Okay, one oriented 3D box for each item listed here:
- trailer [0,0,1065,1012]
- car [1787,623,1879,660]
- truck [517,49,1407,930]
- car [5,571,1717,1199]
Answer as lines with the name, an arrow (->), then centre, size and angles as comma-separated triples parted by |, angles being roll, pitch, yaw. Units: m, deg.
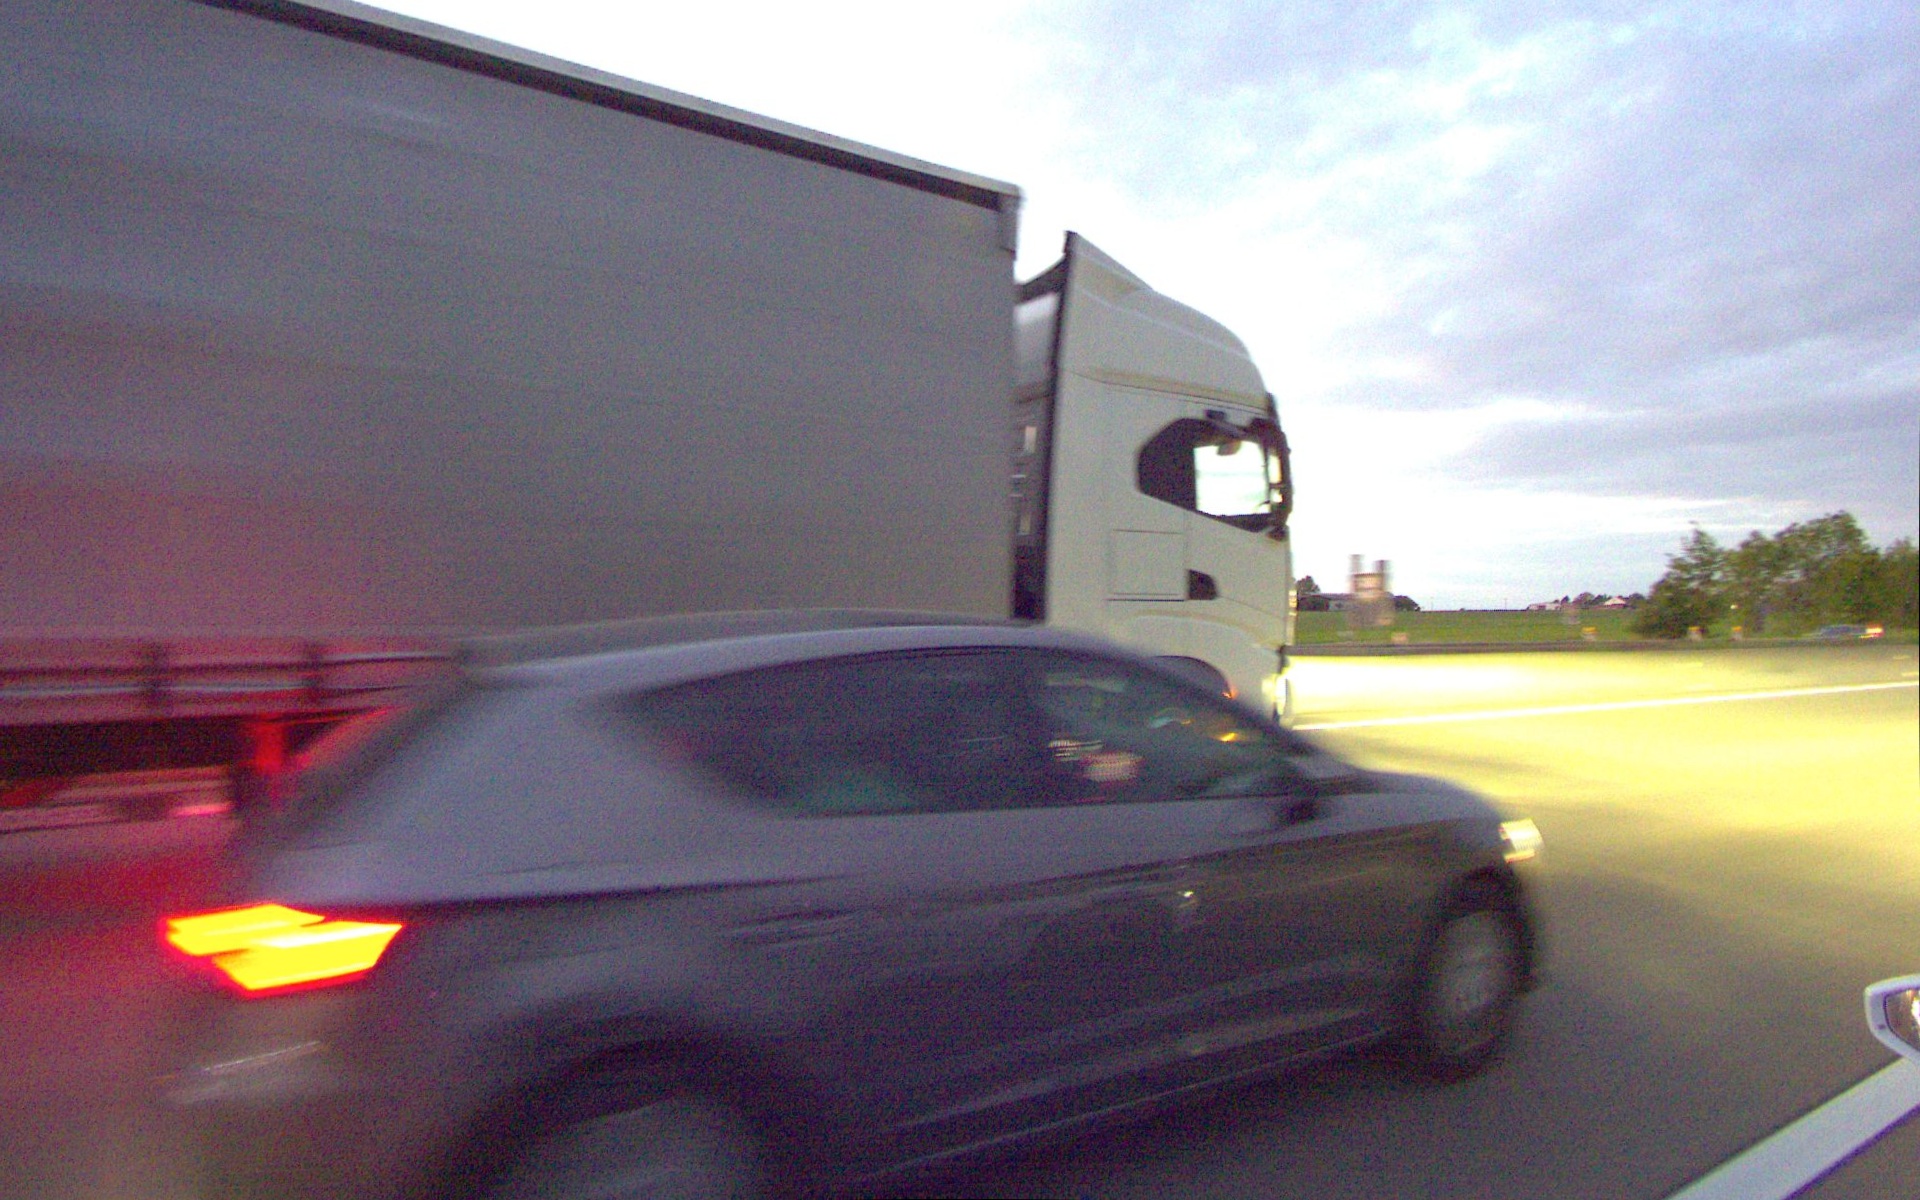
trailer -> -6.248, -0.614, 3.649 | 14.356, 4.139, 2.780 | 2, -1, -31
car -> 38.975, 1.858, 44.814 | 3.954, 1.508, 1.983 | 2, 0, -31
truck -> 0.176, -0.443, 7.462 | 6.032, 4.147, 2.764 | 2, -1, -31
car -> 0.325, 0.754, 3.270 | 4.670, 1.491, 1.715 | 2, 0, -30
